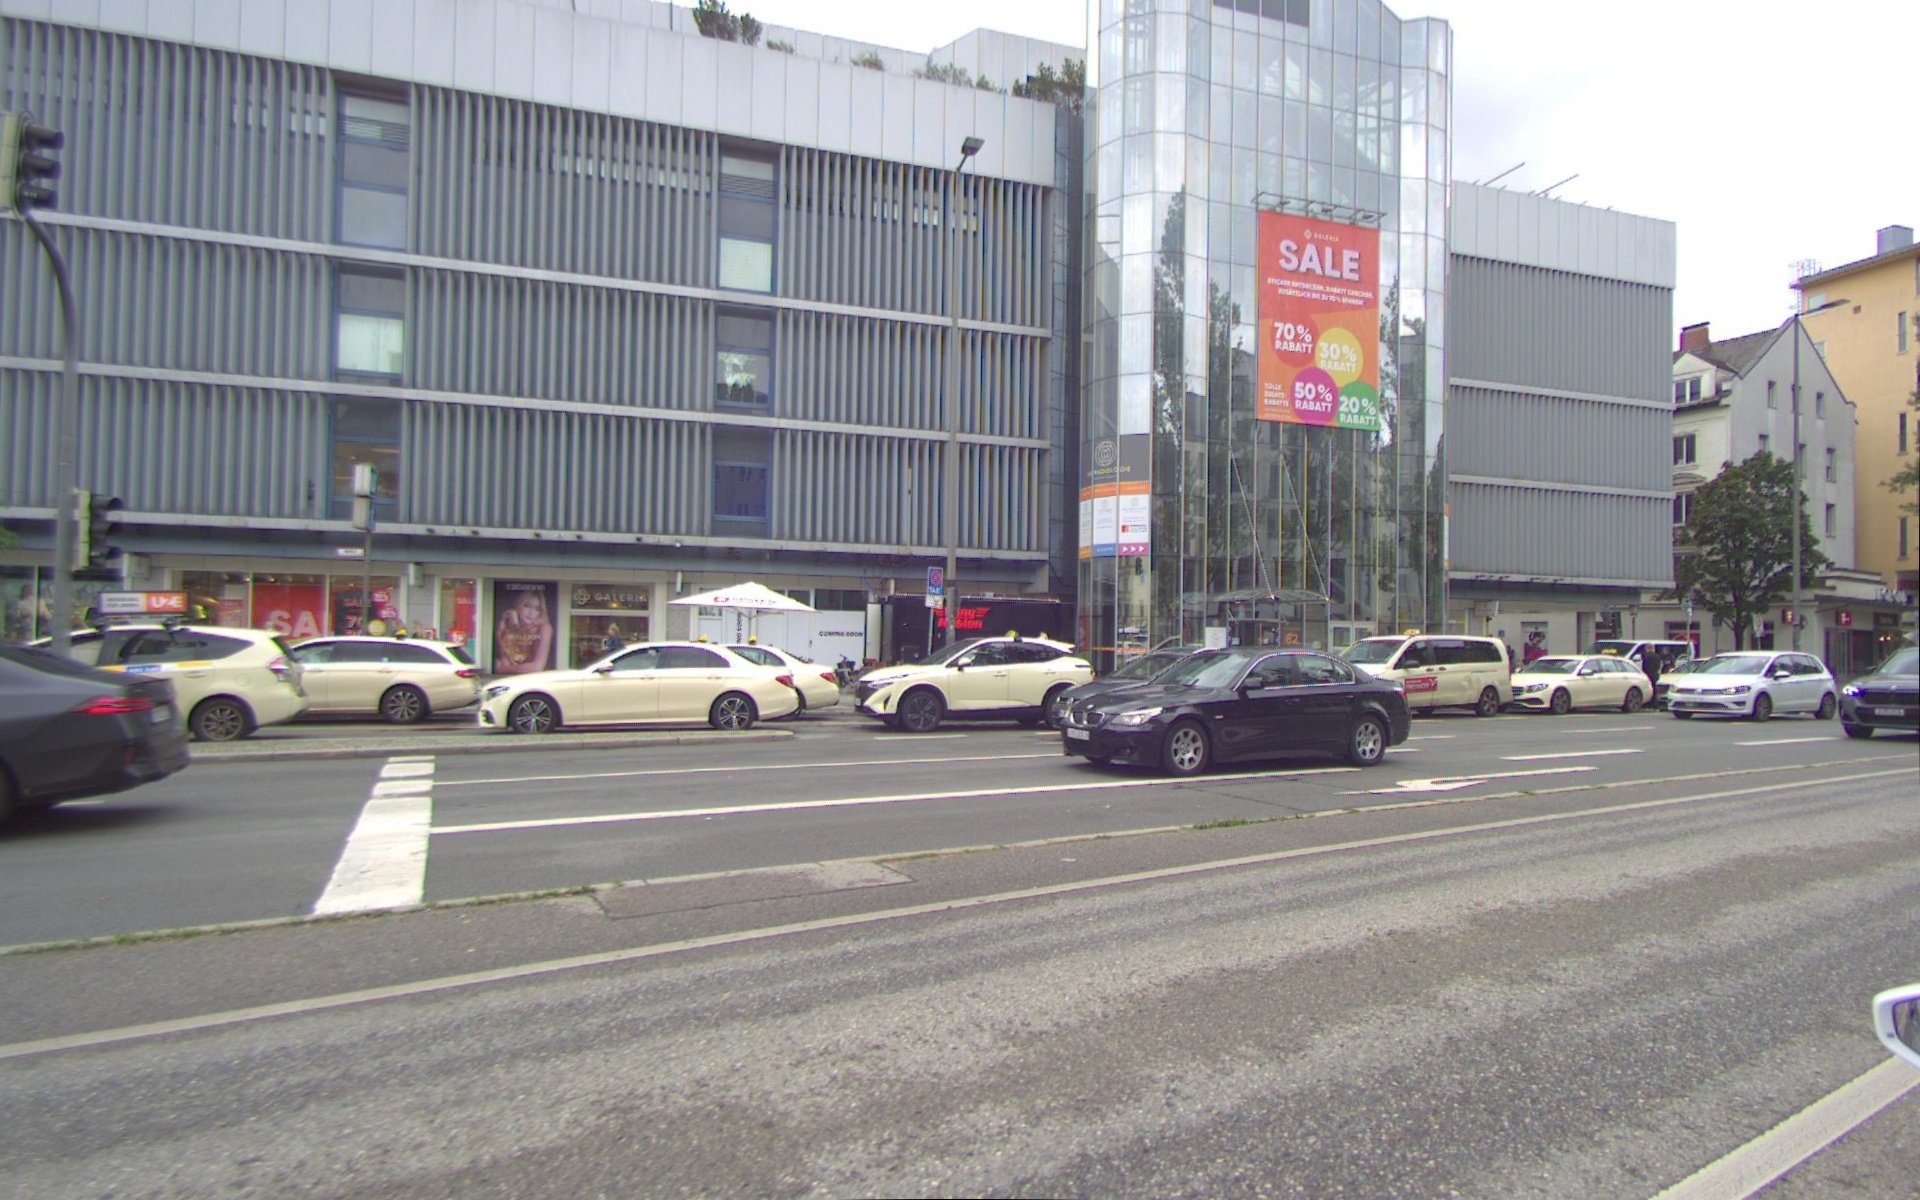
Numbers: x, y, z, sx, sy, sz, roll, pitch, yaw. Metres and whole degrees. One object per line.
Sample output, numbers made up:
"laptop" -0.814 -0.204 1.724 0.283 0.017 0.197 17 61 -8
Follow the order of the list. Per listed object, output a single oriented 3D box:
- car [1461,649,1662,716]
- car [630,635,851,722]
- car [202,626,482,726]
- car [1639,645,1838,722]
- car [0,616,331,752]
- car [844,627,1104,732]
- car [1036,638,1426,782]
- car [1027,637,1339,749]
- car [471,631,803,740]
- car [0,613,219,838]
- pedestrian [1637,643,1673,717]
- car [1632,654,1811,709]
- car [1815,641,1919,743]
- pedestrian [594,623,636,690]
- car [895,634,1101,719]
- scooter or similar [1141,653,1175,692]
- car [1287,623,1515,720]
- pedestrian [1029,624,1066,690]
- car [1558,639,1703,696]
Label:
"car" 15.466 2.082 25.802 5.017 1.572 1.972 2 -2 -25
"car" -4.257 1.483 19.441 3.942 1.556 1.749 2 -2 -22
"car" -10.612 1.281 17.622 3.949 1.587 1.900 2 -2 -27
"car" 17.977 1.879 23.199 4.233 1.621 1.987 2 -2 -26
"car" -10.991 1.066 13.280 4.425 1.633 1.579 2 -3 -31
"car" 0.229 1.412 18.082 4.315 1.720 1.884 2 -3 -19
"car" 3.410 1.259 12.467 4.673 1.506 1.829 2 -2 -27
"car" 3.648 1.420 16.181 4.888 1.566 1.951 2 -3 -29
"car" -5.087 1.319 16.160 4.774 1.561 1.943 2 -2 -21
"car" -8.406 0.836 6.962 4.960 1.527 1.985 2 -2 -29
"pedestrian" 18.444 2.101 26.647 0.775 1.891 0.844 0 -2 35
"car" 22.006 2.334 29.022 4.909 1.488 1.854 2 -4 -22
"car" 17.301 1.581 17.651 4.358 1.642 1.986 2 -3 -28
"pedestrian" -8.191 1.333 23.875 0.884 1.566 0.731 1 -2 -17
"car" 0.766 1.573 20.956 3.936 1.637 1.771 2 -2 -17
"scooter or similar" 6.002 2.193 30.434 0.362 1.155 1.375 -1 -3 41
"car" 10.244 1.632 23.252 5.254 2.040 1.987 2 -3 -27
"pedestrian" 2.479 1.613 28.535 0.805 1.828 0.788 1 -2 -18
"car" 25.048 2.502 37.532 5.036 2.040 1.991 2 -2 -21
